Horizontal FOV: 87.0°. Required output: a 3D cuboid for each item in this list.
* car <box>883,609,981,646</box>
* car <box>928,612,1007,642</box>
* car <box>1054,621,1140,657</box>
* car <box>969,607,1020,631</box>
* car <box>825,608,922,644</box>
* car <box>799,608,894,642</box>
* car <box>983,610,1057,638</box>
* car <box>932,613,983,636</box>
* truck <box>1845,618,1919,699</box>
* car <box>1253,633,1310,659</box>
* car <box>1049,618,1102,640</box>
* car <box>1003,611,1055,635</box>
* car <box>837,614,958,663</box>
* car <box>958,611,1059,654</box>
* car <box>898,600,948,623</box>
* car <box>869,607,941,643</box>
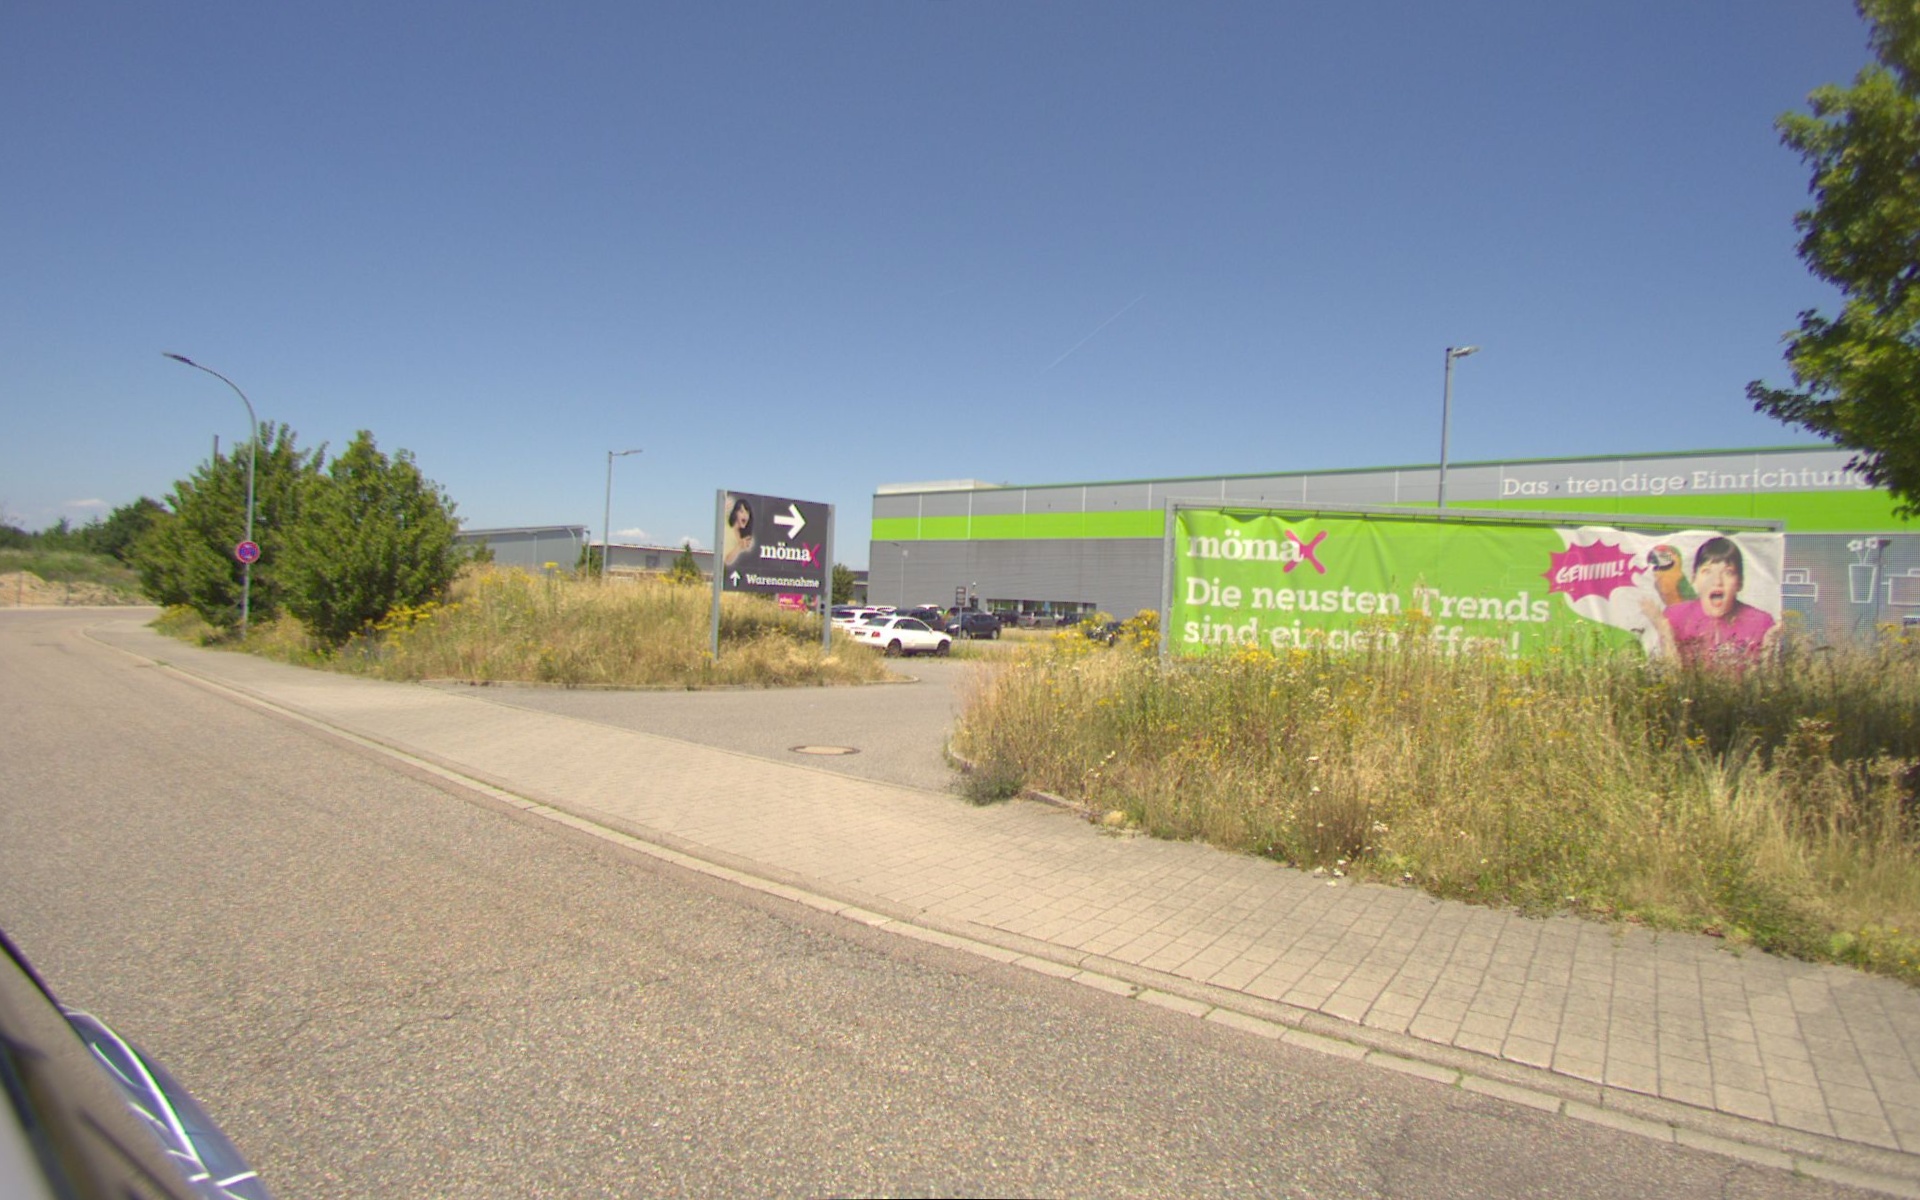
[{"bbox_3d":[-1.252,1.225,46.650,4.291,1.556,1.875,0,0,-40],"label":"car"},{"bbox_3d":[0.434,1.464,56.878,4.292,1.556,1.875,0,0,-41],"label":"car"},{"bbox_3d":[6.736,1.860,49.587,4.294,1.556,1.874,0,0,-43],"label":"car"},{"bbox_3d":[2.734,1.450,79.359,1.999,1.752,3.946,2,1,40],"label":"car"},{"bbox_3d":[-4.070,1.203,47.865,4.291,1.556,1.875,0,0,-40],"label":"car"},{"bbox_3d":[-5.510,1.183,49.394,4.291,1.556,1.875,0,0,-40],"label":"car"},{"bbox_3d":[3.539,1.414,60.631,1.844,1.556,4.363,0,0,-44],"label":"car"},{"bbox_3d":[-0.156,1.957,81.664,1.999,1.752,3.946,2,1,40],"label":"car"},{"bbox_3d":[35.529,2.037,35.604,7.644,2.704,2.971,1,-1,-17],"label":"truck"},{"bbox_3d":[20.166,2.871,63.403,2.096,1.500,3.948,0,-2,39],"label":"car"},{"bbox_3d":[8.636,2.177,75.464,1.999,1.533,3.945,0,-2,41],"label":"car"},{"bbox_3d":[5.291,1.726,77.239,1.999,1.752,3.946,2,1,40],"label":"car"},{"bbox_3d":[-2.156,1.309,36.015,1.871,1.556,4.301,0,0,41],"label":"car"},{"bbox_3d":[2.038,1.281,41.248,1.871,1.556,4.301,0,0,41],"label":"car"},{"bbox_3d":[-3.039,0.924,83.595,1.999,1.752,3.946,2,1,40],"label":"car"},{"bbox_3d":[-3.247,1.469,60.283,2.001,2.029,3.942,1,1,44],"label":"car"}]
